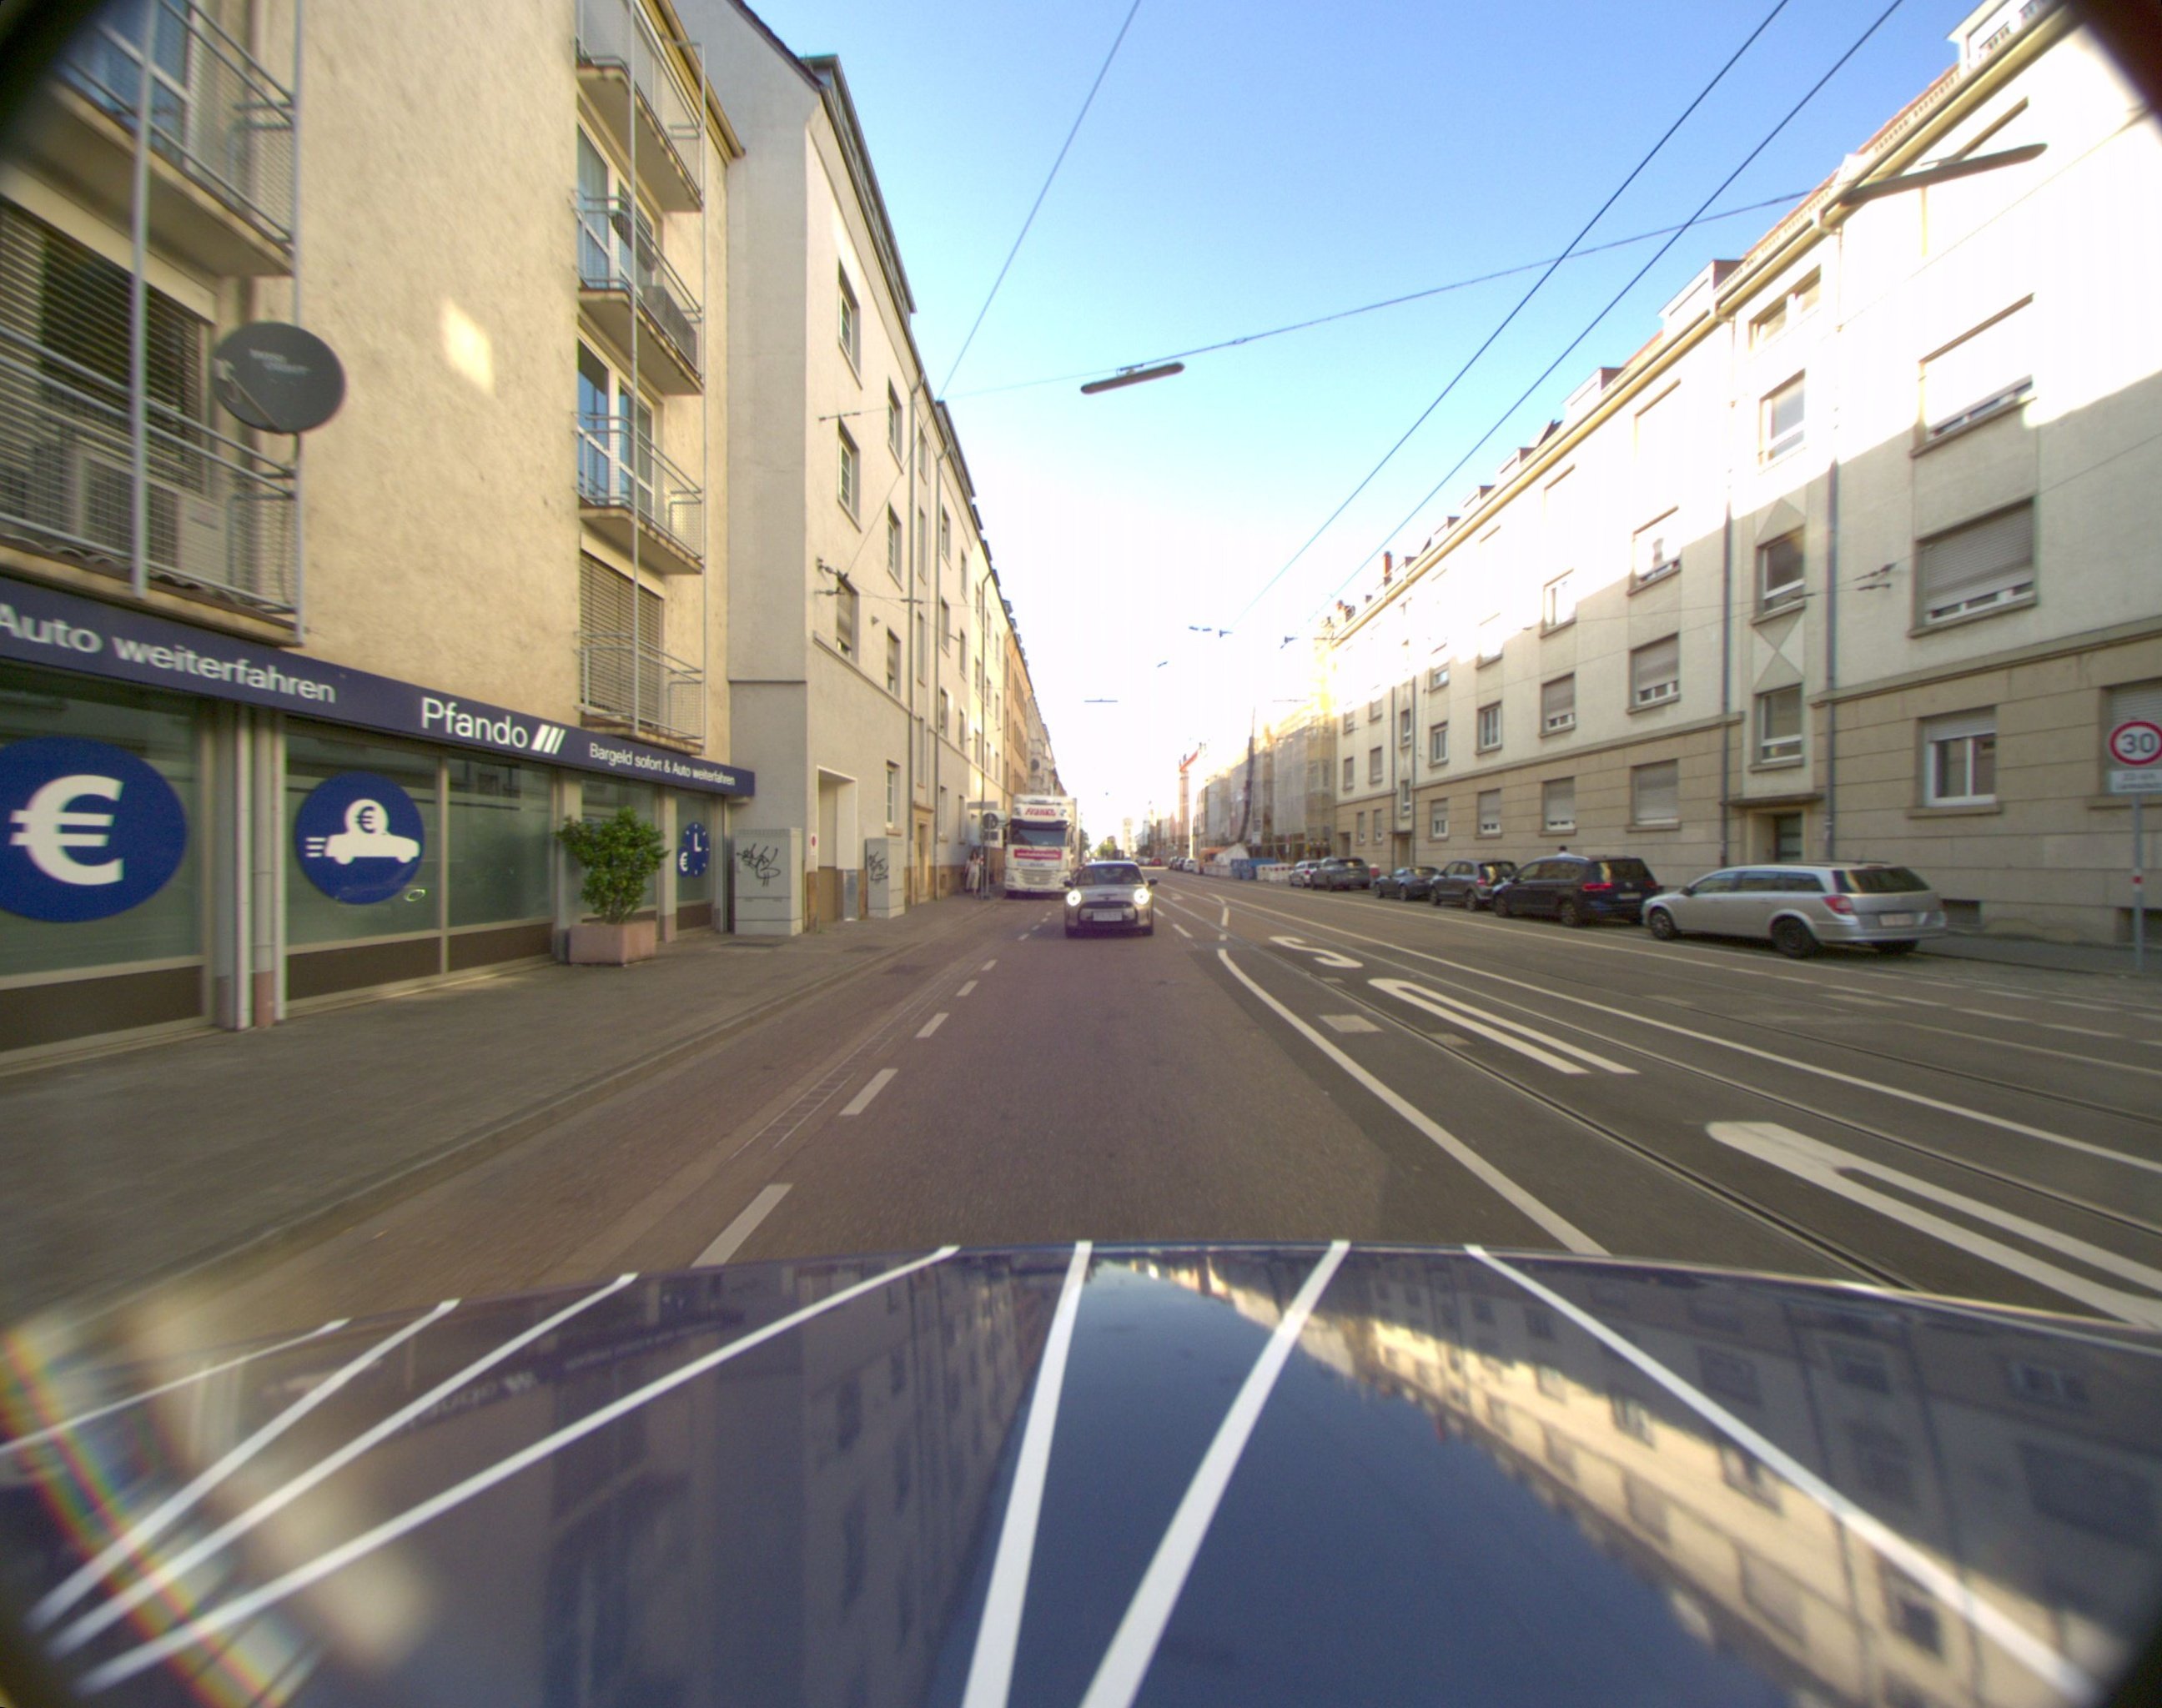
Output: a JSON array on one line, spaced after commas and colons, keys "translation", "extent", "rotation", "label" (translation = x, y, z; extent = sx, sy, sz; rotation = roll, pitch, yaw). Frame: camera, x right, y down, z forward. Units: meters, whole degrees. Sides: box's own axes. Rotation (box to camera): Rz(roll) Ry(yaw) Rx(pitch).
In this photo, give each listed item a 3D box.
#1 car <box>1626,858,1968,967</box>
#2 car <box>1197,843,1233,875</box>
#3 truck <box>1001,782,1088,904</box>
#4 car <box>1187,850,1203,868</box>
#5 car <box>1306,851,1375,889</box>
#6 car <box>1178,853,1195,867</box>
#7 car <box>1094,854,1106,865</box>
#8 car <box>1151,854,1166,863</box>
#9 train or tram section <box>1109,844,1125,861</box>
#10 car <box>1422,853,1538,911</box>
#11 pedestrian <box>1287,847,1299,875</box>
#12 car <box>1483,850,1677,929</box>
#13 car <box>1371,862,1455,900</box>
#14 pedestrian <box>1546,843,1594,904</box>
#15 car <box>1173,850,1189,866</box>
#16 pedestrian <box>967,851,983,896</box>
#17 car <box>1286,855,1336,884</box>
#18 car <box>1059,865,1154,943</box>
[{"translation": [11.930, 0.850, 13.171], "extent": [1.729, 1.446, 4.370], "rotation": [-3, 0, -1], "label": "car"}, {"translation": [11.992, 0.392, 68.467], "extent": [2.215, 2.681, 5.873], "rotation": [-2, 0, 1], "label": "car"}, {"translation": [-1.212, -0.456, 32.342], "extent": [2.699, 4.213, 11.777], "rotation": [0, 1, 2], "label": "truck"}, {"translation": [12.902, 0.596, 85.992], "extent": [1.657, 1.911, 3.767], "rotation": [-2, 0, 8], "label": "car"}, {"translation": [12.274, 0.723, 36.234], "extent": [1.751, 1.600, 4.159], "rotation": [-3, 0, -1], "label": "car"}, {"translation": [12.793, 0.723, 92.240], "extent": [1.570, 1.674, 3.937], "rotation": [-2, 0, 2], "label": "car"}, {"translation": [3.543, 1.023, 139.546], "extent": [1.999, 1.871, 4.270], "rotation": [-2, 0, -1], "label": "car"}, {"translation": [13.768, 0.828, 134.504], "extent": [2.231, 1.518, 4.960], "rotation": [-2, 0, 2], "label": "car"}, {"translation": [7.815, -0.348, 166.184], "extent": [2.866, 3.541, 13.042], "rotation": [0, 0, 0], "label": "train or tram section"}, {"translation": [12.142, 0.793, 23.369], "extent": [1.643, 1.549, 3.595], "rotation": [-3, 0, 1], "label": "car"}, {"translation": [14.606, 0.488, 52.345], "extent": [0.519, 1.861, 0.763], "rotation": [-2, 1, 1], "label": "pedestrian"}, {"translation": [11.952, 0.758, 18.603], "extent": [1.819, 1.624, 4.324], "rotation": [-3, 0, -1], "label": "car"}, {"translation": [12.152, 0.951, 27.992], "extent": [1.476, 1.212, 3.523], "rotation": [-3, 0, -1], "label": "car"}, {"translation": [14.644, 0.572, 22.774], "extent": [0.664, 1.757, 1.005], "rotation": [-2, 1, -6], "label": "pedestrian"}, {"translation": [12.972, 0.537, 98.827], "extent": [1.570, 1.945, 4.184], "rotation": [-2, 0, 2], "label": "car"}, {"translation": [-3.821, 0.704, 27.418], "extent": [0.475, 1.620, 0.467], "rotation": [0, 1, 3], "label": "pedestrian"}, {"translation": [12.291, 0.814, 40.765], "extent": [1.564, 1.372, 3.507], "rotation": [-3, 0, -1], "label": "car"}, {"translation": [0.561, 0.935, 15.782], "extent": [1.727, 1.416, 3.818], "rotation": [0, -1, 3], "label": "car"}]
